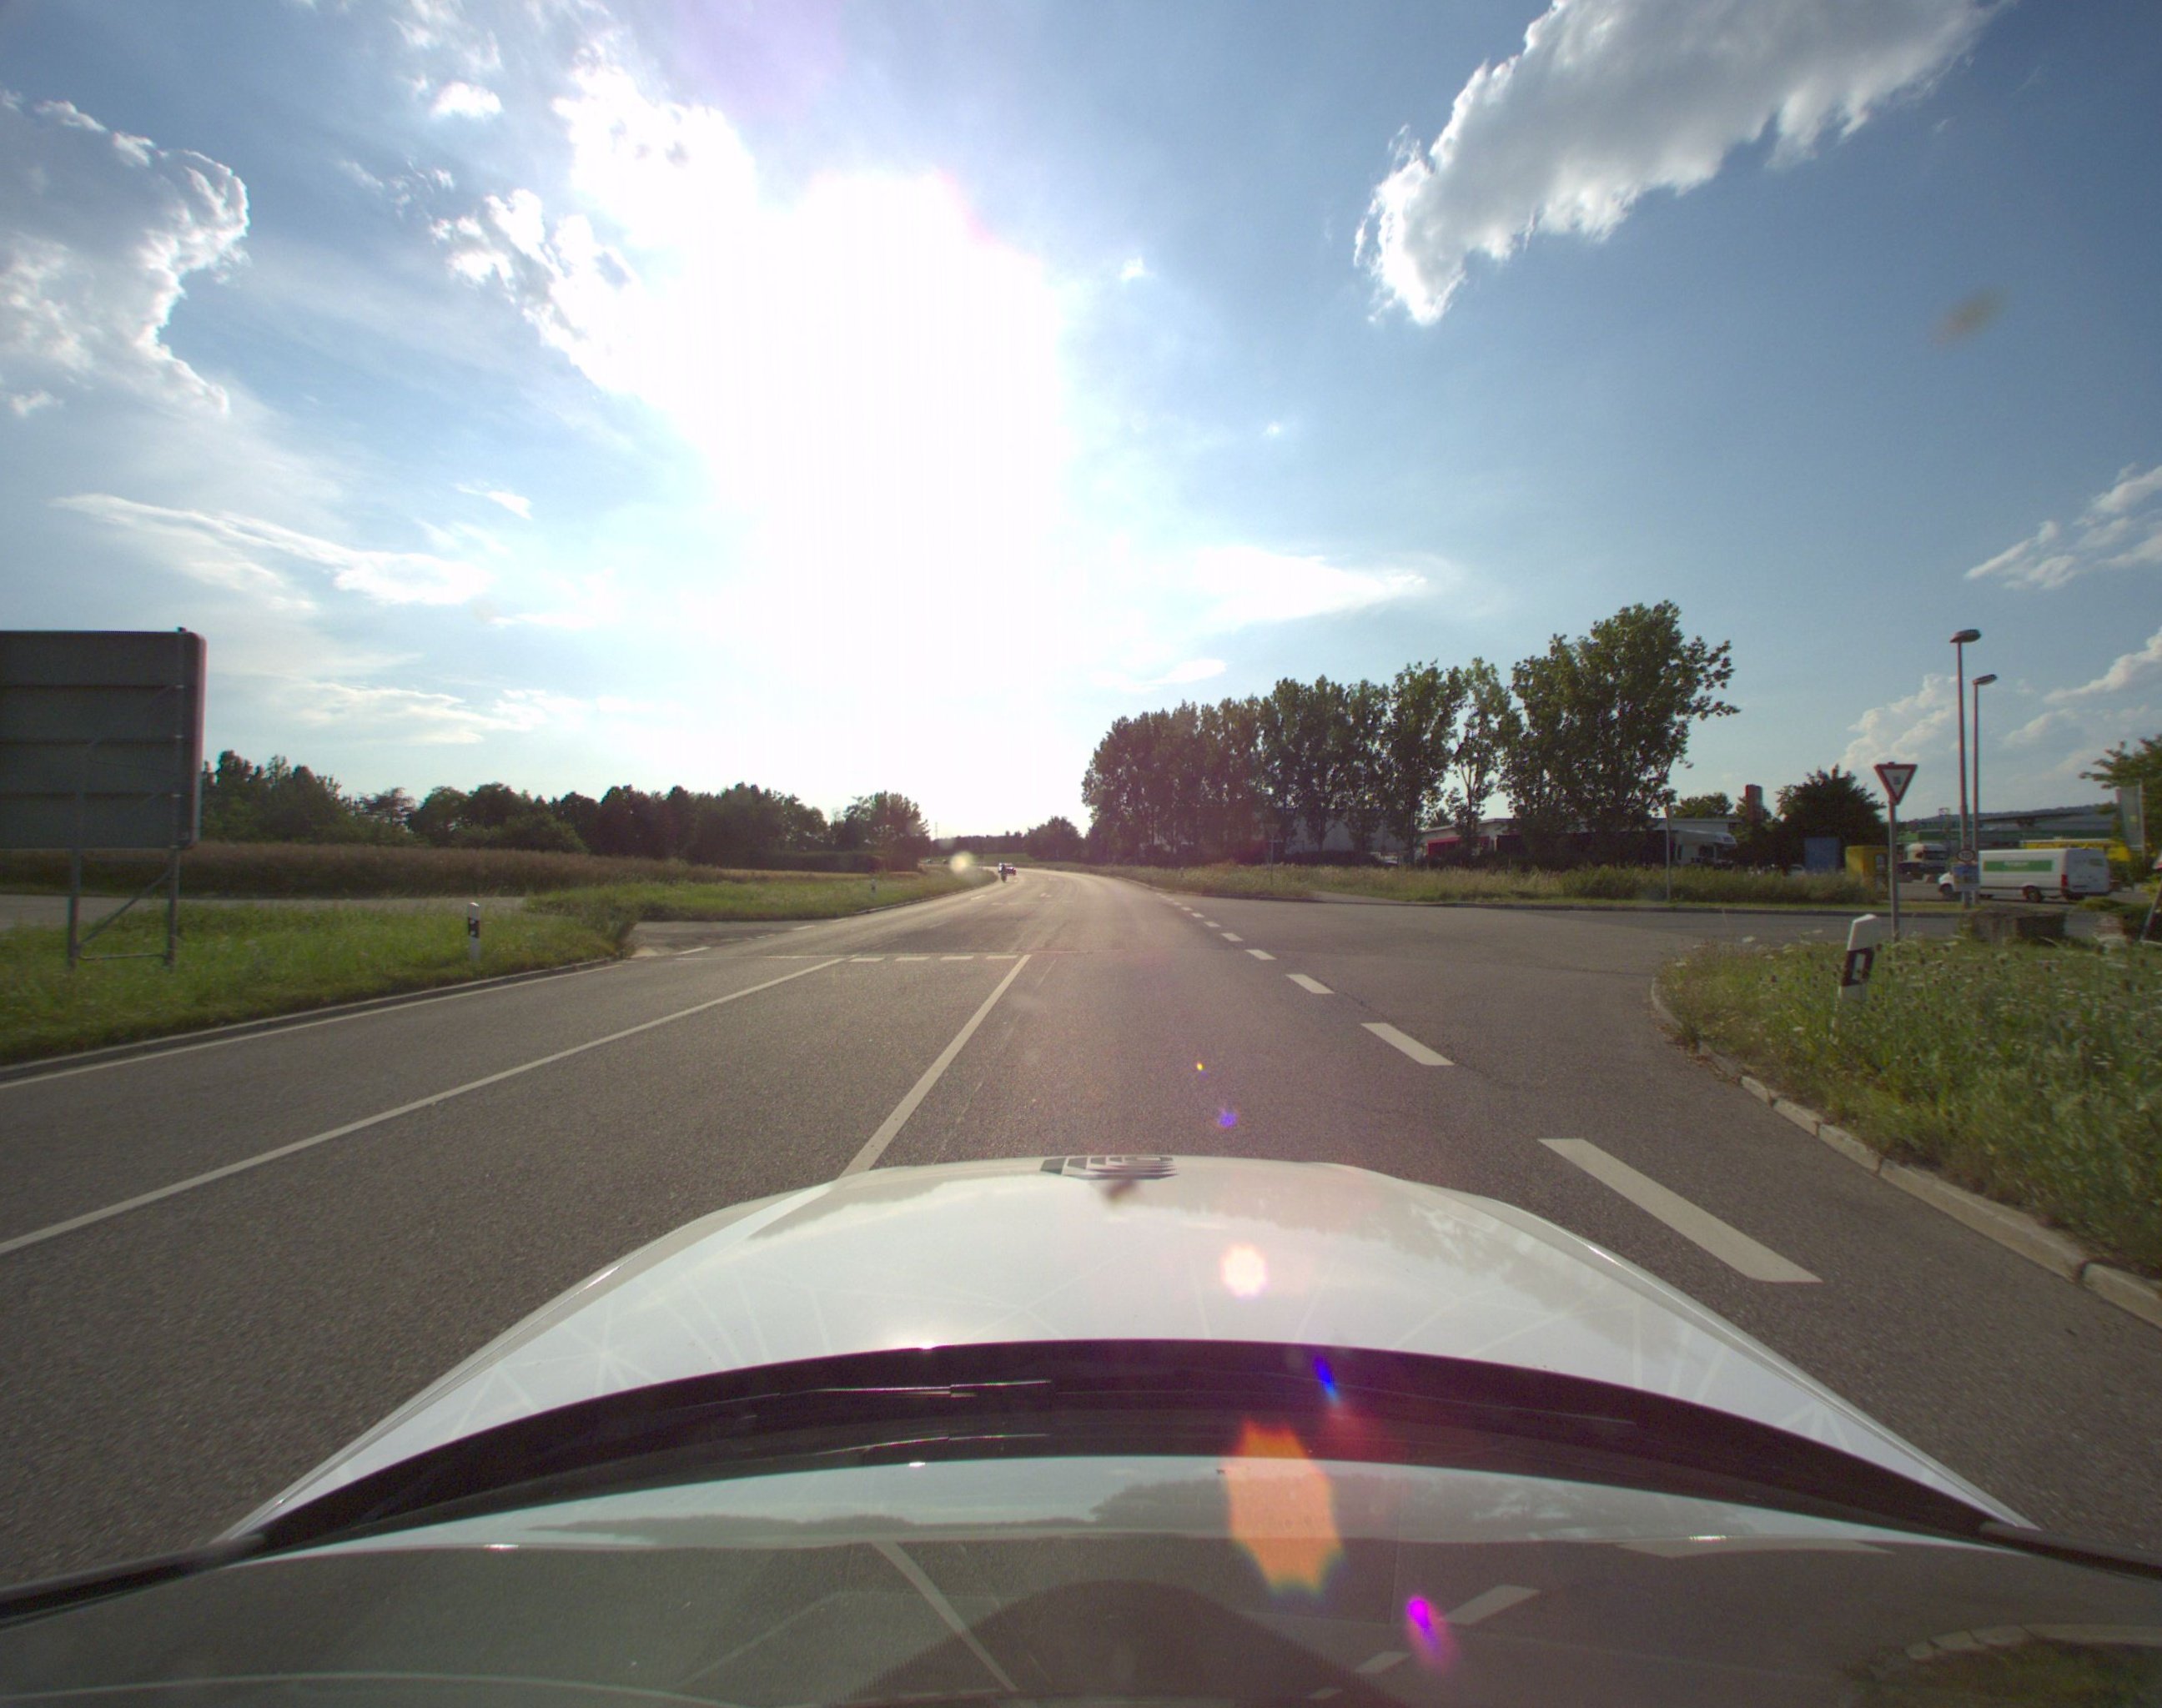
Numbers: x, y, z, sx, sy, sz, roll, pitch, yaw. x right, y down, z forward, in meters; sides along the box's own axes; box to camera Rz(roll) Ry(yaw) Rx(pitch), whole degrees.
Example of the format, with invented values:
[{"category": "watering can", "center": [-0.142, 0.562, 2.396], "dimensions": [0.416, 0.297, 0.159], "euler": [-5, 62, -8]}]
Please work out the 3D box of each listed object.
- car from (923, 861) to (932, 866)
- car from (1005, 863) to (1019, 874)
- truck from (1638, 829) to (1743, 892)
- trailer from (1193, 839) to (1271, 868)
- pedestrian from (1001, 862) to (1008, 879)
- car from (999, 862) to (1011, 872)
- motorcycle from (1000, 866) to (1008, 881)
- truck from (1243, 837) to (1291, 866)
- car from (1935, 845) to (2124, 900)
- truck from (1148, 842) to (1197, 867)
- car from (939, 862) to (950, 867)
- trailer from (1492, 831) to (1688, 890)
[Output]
[{"category": "car", "center": [-44.069, 2.760, 233.495], "dimensions": [1.859, 1.408, 3.615], "euler": [3, -2, -24]}, {"category": "car", "center": [-9.118, 1.890, 108.105], "dimensions": [1.681, 1.349, 3.994], "euler": [-1, -1, -4]}, {"category": "truck", "center": [40.272, 0.453, 53.961], "dimensions": [2.256, 3.916, 5.072], "euler": [3, -2, -28]}, {"category": "trailer", "center": [18.943, 0.047, 103.528], "dimensions": [2.696, 3.142, 13.159], "euler": [3, -3, -25]}, {"category": "pedestrian", "center": [-6.912, 1.461, 73.331], "dimensions": [0.564, 1.505, 0.864], "euler": [1, -1, -3]}, {"category": "car", "center": [-11.548, 1.997, 123.910], "dimensions": [1.683, 1.349, 3.624], "euler": [2, 0, -7]}, {"category": "motorcycle", "center": [-6.919, 1.745, 73.297], "dimensions": [0.584, 1.261, 2.118], "euler": [1, -1, -3]}, {"category": "truck", "center": [22.042, -0.195, 96.726], "dimensions": [2.633, 3.162, 5.661], "euler": [3, -3, -25]}, {"category": "car", "center": [47.966, 0.980, 41.537], "dimensions": [2.218, 2.519, 6.829], "euler": [2, -2, 6]}, {"category": "truck", "center": [13.083, 0.167, 117.117], "dimensions": [2.522, 3.377, 9.611], "euler": [3, -2, -23]}, {"category": "car", "center": [-36.468, 2.792, 216.857], "dimensions": [1.977, 1.151, 3.836], "euler": [3, -2, -24]}, {"category": "trailer", "center": [37.314, 0.542, 60.832], "dimensions": [2.252, 3.916, 13.618], "euler": [3, -2, -22]}]
